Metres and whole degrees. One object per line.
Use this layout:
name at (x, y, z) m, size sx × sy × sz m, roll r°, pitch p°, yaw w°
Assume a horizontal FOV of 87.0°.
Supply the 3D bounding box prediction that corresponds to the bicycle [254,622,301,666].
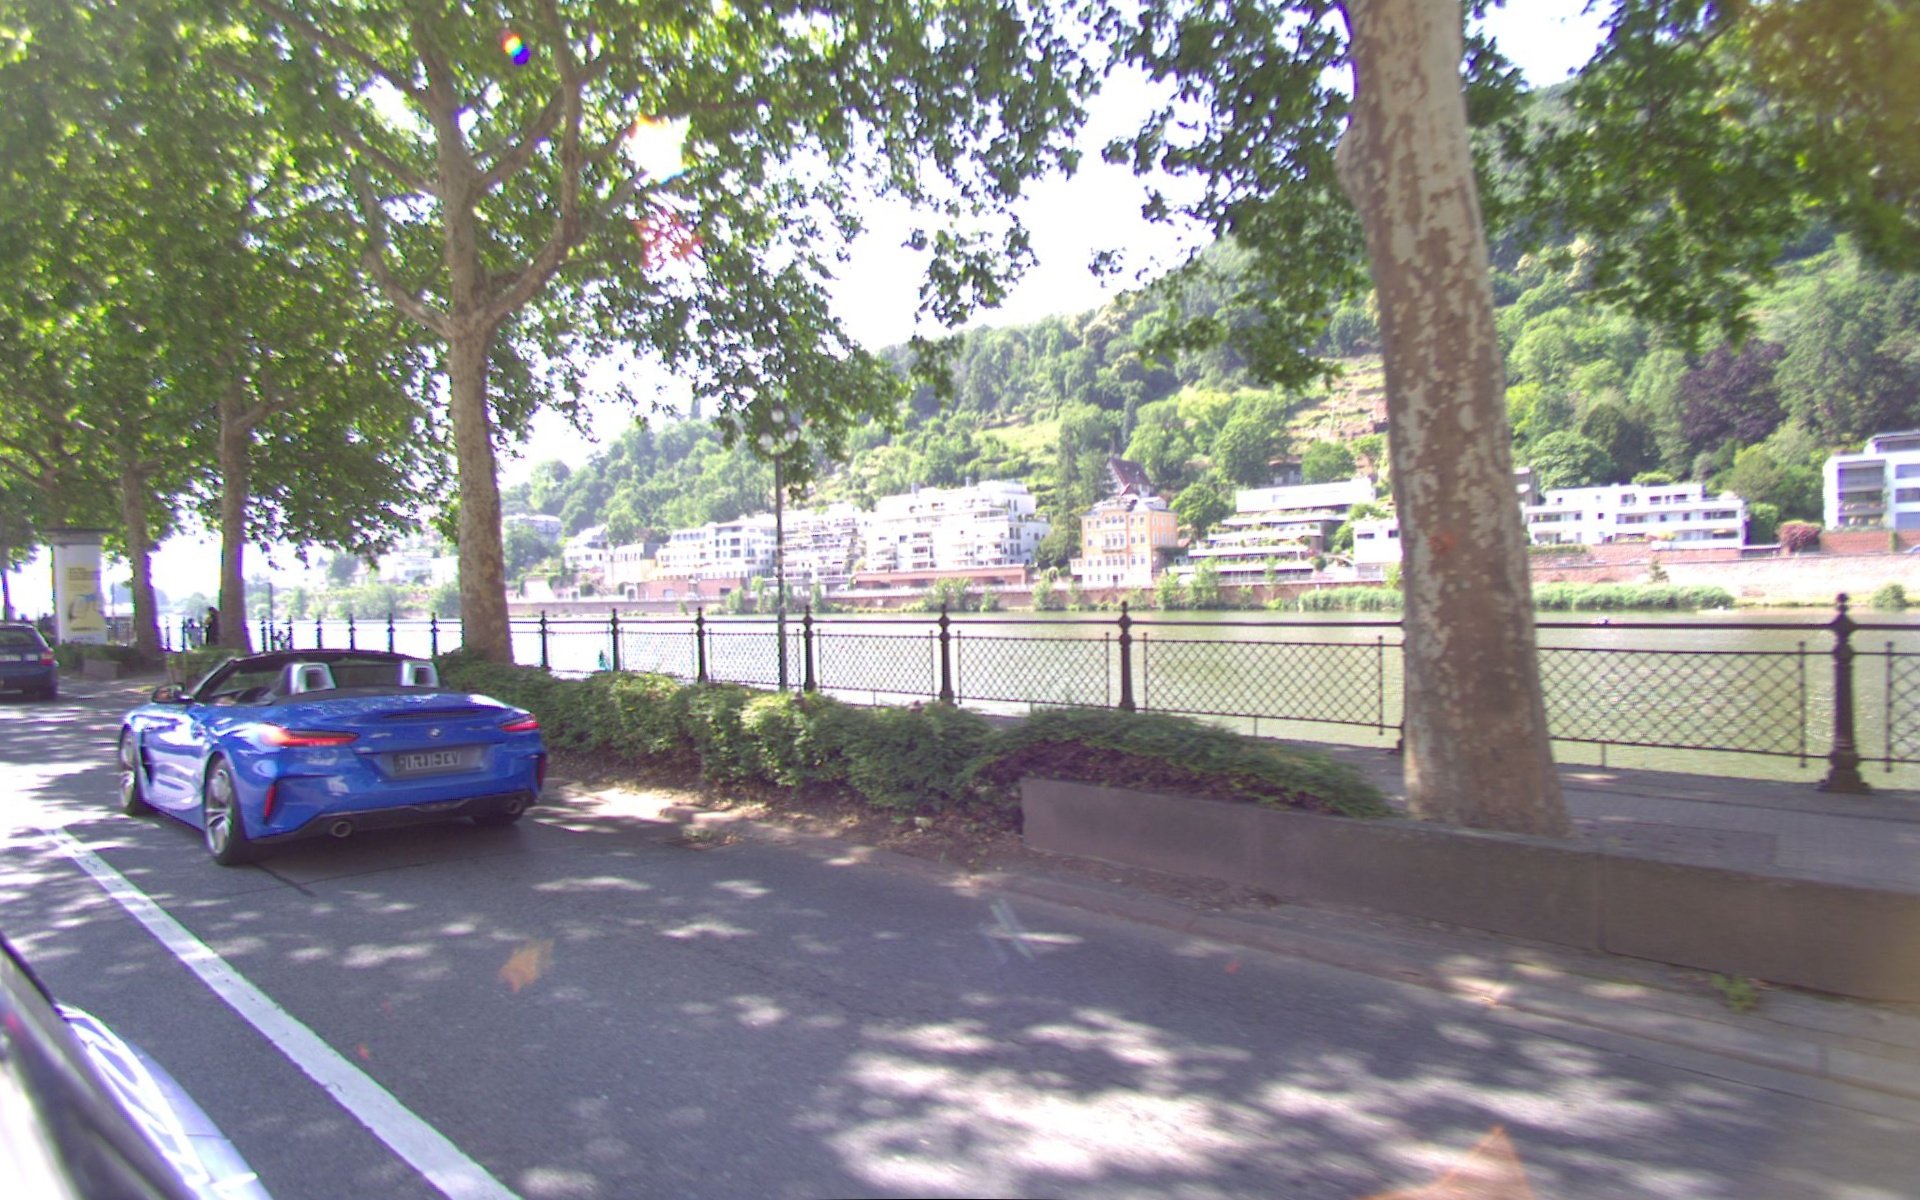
bicycle at (-18.822, 1.198, 27.907) m, size 1.843 × 1.161 × 0.557 m, roll -1°, pitch 2°, yaw 41°

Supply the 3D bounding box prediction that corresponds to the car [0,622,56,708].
car at (-18.749, 1.175, 19.373) m, size 4.404 × 1.529 × 1.683 m, roll -1°, pitch -3°, yaw 42°

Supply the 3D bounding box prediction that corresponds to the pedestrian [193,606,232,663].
pedestrian at (-22.938, 1.055, 31.057) m, size 0.709 × 1.696 × 0.783 m, roll -1°, pitch 0°, yaw 40°

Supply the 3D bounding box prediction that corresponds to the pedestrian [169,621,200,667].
pedestrian at (-23.416, 1.313, 30.551) m, size 0.552 × 1.330 × 0.625 m, roll -1°, pitch 0°, yaw 40°

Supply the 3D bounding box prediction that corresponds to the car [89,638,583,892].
car at (-4.734, 0.951, 7.421) m, size 4.259 × 1.279 × 1.822 m, roll -1°, pitch -3°, yaw 40°

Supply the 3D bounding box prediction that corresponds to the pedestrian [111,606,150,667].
pedestrian at (-24.472, 1.061, 29.862) m, size 0.729 × 1.743 × 0.751 m, roll -1°, pitch 0°, yaw 40°

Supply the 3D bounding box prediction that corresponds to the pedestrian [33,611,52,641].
pedestrian at (-54.517, 1.551, 60.130) m, size 0.729 × 1.719 × 0.751 m, roll -1°, pitch 0°, yaw 40°

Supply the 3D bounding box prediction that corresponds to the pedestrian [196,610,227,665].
pedestrian at (-22.918, 1.151, 30.987) m, size 0.552 × 1.640 × 0.625 m, roll -1°, pitch 0°, yaw 40°

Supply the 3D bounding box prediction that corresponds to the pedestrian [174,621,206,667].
pedestrian at (-23.318, 1.320, 30.650) m, size 0.552 × 1.330 × 0.625 m, roll -1°, pitch 0°, yaw 40°
